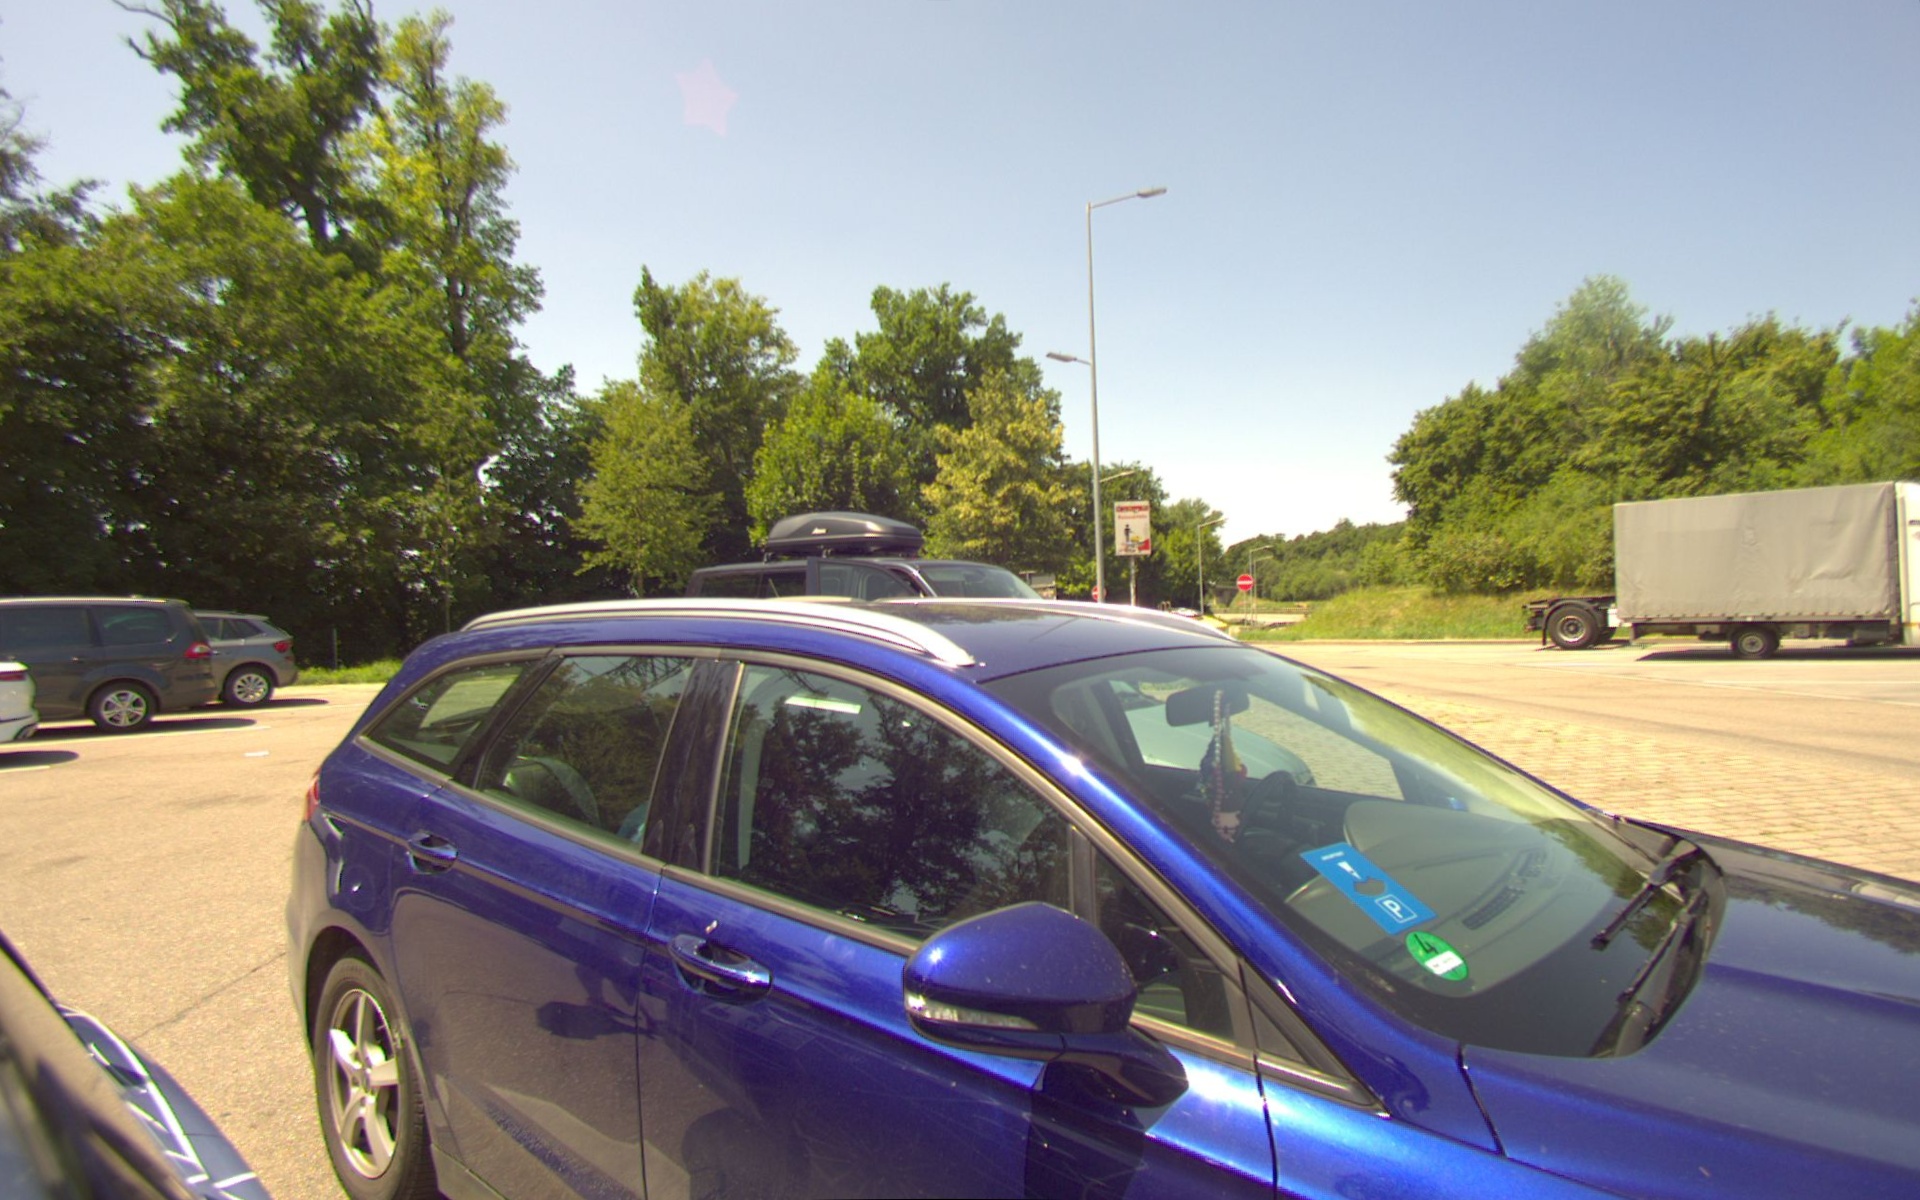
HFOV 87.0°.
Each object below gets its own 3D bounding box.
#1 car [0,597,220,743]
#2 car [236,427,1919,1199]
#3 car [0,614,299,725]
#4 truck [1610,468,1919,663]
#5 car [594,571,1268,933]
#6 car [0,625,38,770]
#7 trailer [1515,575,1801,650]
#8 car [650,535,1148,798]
[{"bbox_3d":[-11.715,0.840,12.584,3.830,1.703,1.883,0,-2,-45],"label":"car"},{"bbox_3d":[0.238,0.654,2.083,4.427,1.455,1.763,-2,-1,40],"label":"car"},{"bbox_3d":[-12.598,0.976,15.610,3.753,1.488,1.743,0,-1,-45],"label":"car"},{"bbox_3d":[16.708,-0.618,18.844,7.308,3.258,2.294,-5,-2,43],"label":"truck"},{"bbox_3d":[-0.366,0.654,5.804,3.739,1.424,1.587,-2,-1,40],"label":"car"},{"bbox_3d":[-10.961,0.948,9.196,3.753,1.377,1.804,0,-1,-45],"label":"car"},{"bbox_3d":[16.328,0.346,23.917,5.393,1.608,1.576,-2,-1,41],"label":"trailer"},{"bbox_3d":[-0.734,0.537,9.415,4.426,1.875,2.022,-2,-1,40],"label":"car"}]
